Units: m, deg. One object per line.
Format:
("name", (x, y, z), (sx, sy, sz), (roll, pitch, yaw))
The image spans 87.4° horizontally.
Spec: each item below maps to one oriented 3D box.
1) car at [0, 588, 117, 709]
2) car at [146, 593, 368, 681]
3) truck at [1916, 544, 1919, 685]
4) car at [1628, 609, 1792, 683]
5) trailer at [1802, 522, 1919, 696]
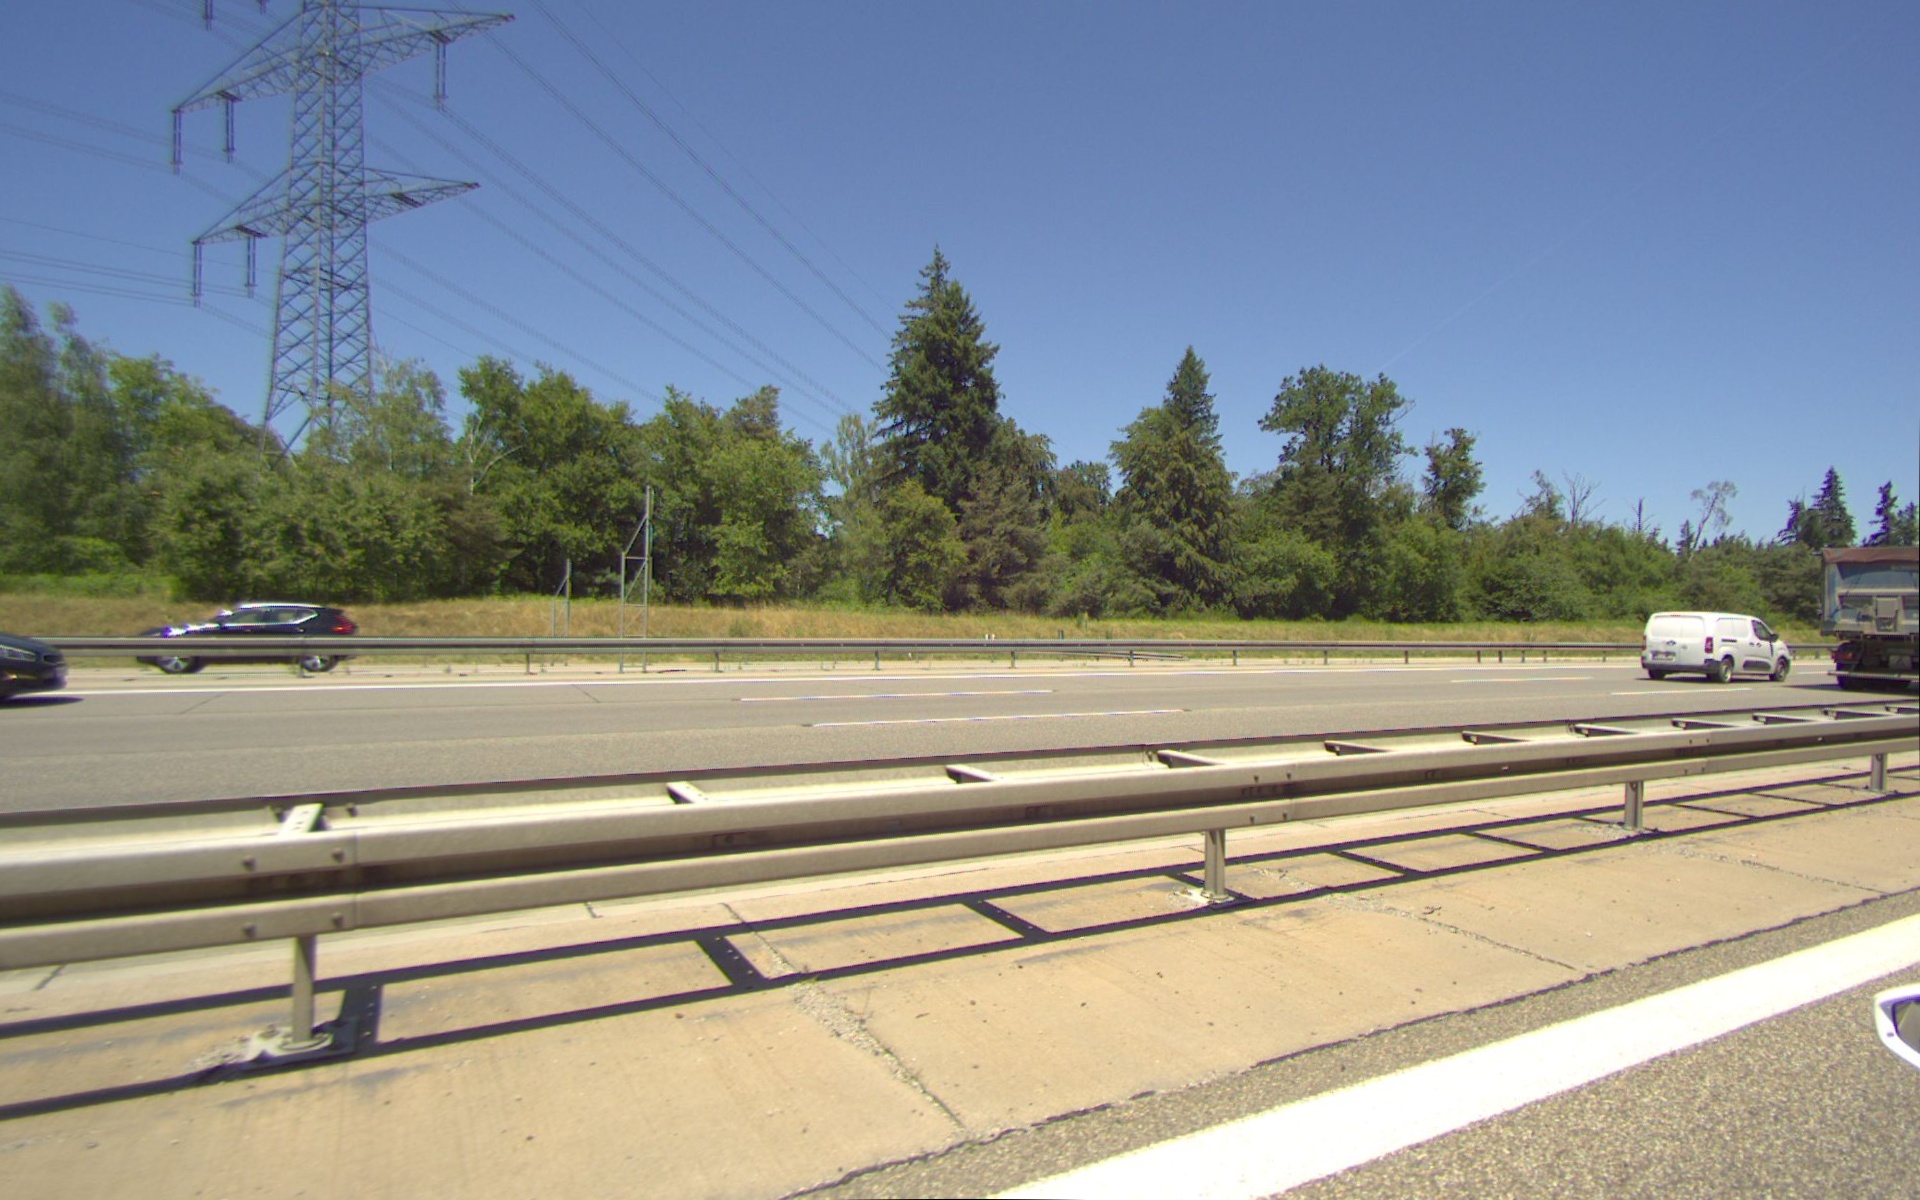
("car", (-13.637, 0.578, 12.485), (4.540, 1.494, 1.696), (1, -1, -29))
("car", (-16.100, 0.837, 23.266), (3.947, 1.894, 1.733), (1, 0, -26))
("truck", (28.990, 0.452, 27.395), (5.873, 3.808, 2.672), (2, -1, -30))
("car", (20.363, 1.229, 27.219), (4.659, 1.858, 1.824), (1, -1, -29))
("trailer", (24.475, 0.317, 24.810), (9.000, 3.808, 2.724), (2, -1, -30))
